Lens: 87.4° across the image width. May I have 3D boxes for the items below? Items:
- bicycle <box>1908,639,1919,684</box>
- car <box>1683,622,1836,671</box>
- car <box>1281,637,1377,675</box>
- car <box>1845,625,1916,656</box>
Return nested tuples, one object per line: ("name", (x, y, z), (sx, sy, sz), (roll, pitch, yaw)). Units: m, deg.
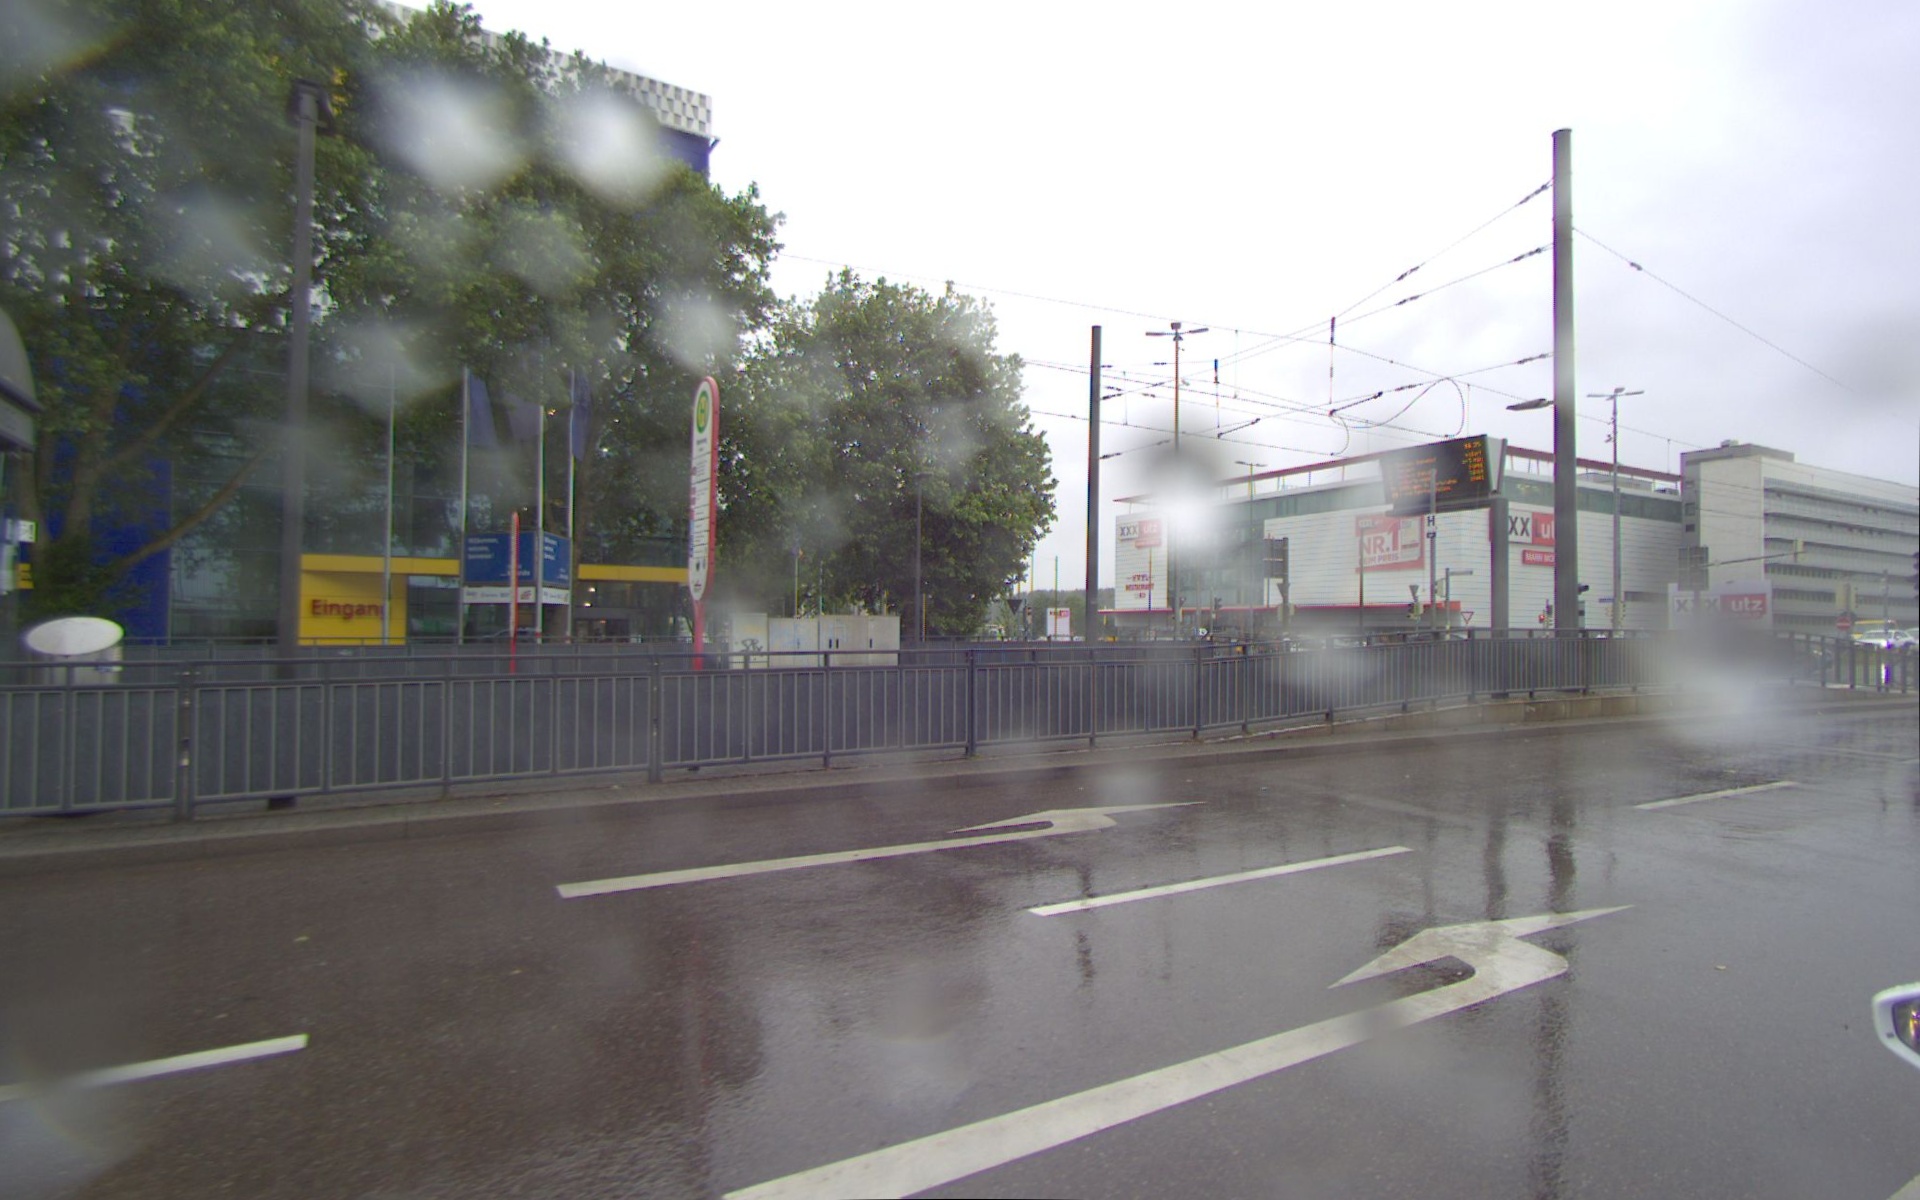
("bicycle", (25.601, 1.606, 25.807), (1.724, 1.153, 0.520), (2, 0, 18))
("car", (28.406, 1.627, 35.767), (4.139, 1.470, 1.708), (3, 0, 43))
("car", (18.239, 2.745, 49.872), (1.801, 1.521, 4.235), (3, 0, -32))
("car", (48.604, 2.121, 53.032), (3.765, 1.445, 1.702), (3, 0, -31))
